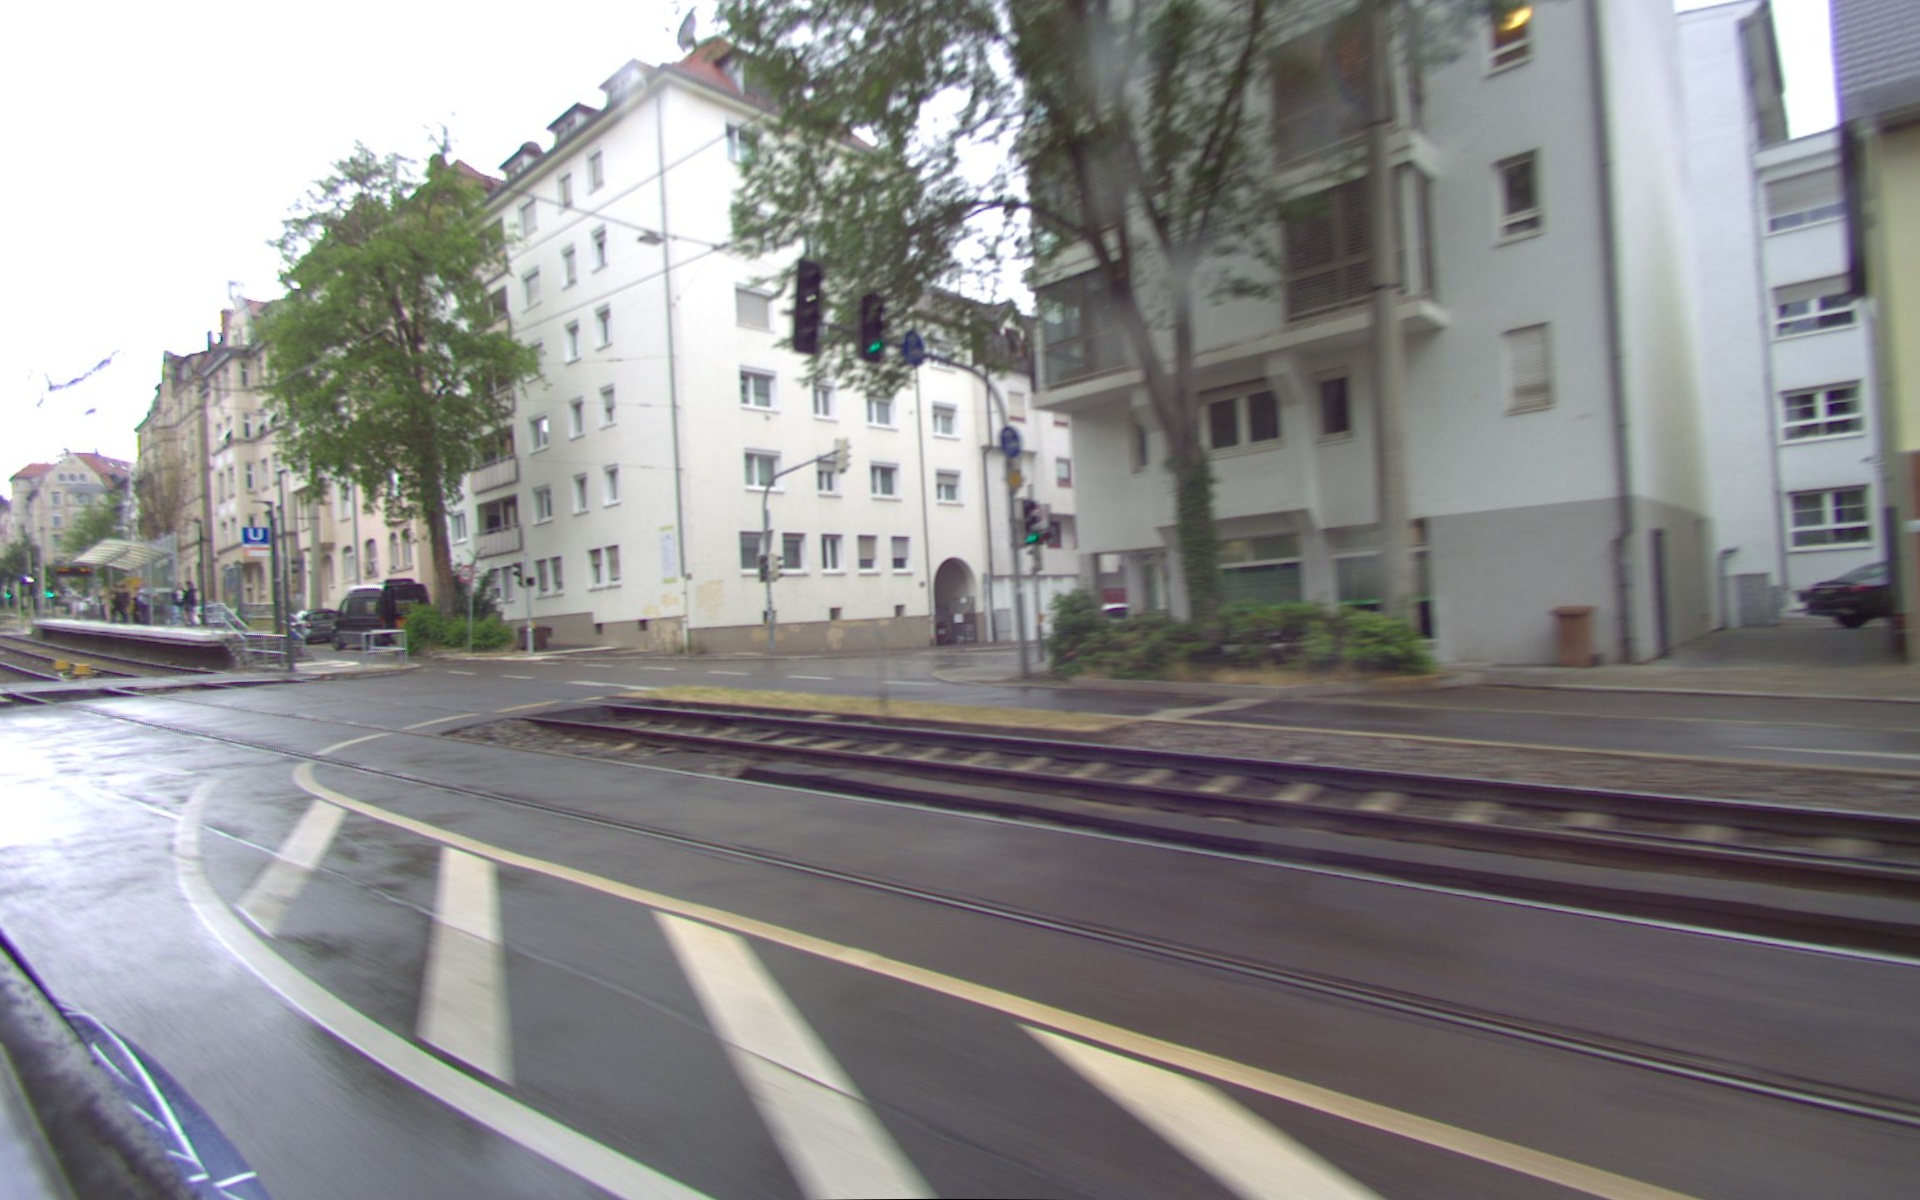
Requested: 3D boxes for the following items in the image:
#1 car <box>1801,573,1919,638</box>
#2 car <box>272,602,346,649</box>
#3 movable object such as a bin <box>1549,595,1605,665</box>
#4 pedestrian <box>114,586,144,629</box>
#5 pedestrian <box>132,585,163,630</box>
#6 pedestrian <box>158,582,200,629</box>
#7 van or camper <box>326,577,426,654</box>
[{"bbox_3d":[21.077,0.078,22.136,3.936,1.342,1.915,-1,0,-8],"label":"car"},{"bbox_3d":[-29.973,1.152,46.561,4.001,2.029,1.972,-1,0,43],"label":"car"},{"bbox_3d":[9.258,0.442,15.194,0.645,1.022,0.434,-1,0,41],"label":"movable object such as a bin"},{"bbox_3d":[-36.556,0.343,44.493,0.860,1.866,0.891,-1,0,43],"label":"pedestrian"},{"bbox_3d":[-33.846,0.305,42.155,0.860,1.866,0.891,-1,0,43],"label":"pedestrian"},{"bbox_3d":[-30.185,0.209,39.119,0.965,1.796,1.105,-1,0,42],"label":"pedestrian"},{"bbox_3d":[-23.116,0.591,39.963,5.213,2.819,1.972,-1,0,43],"label":"van or camper"}]
